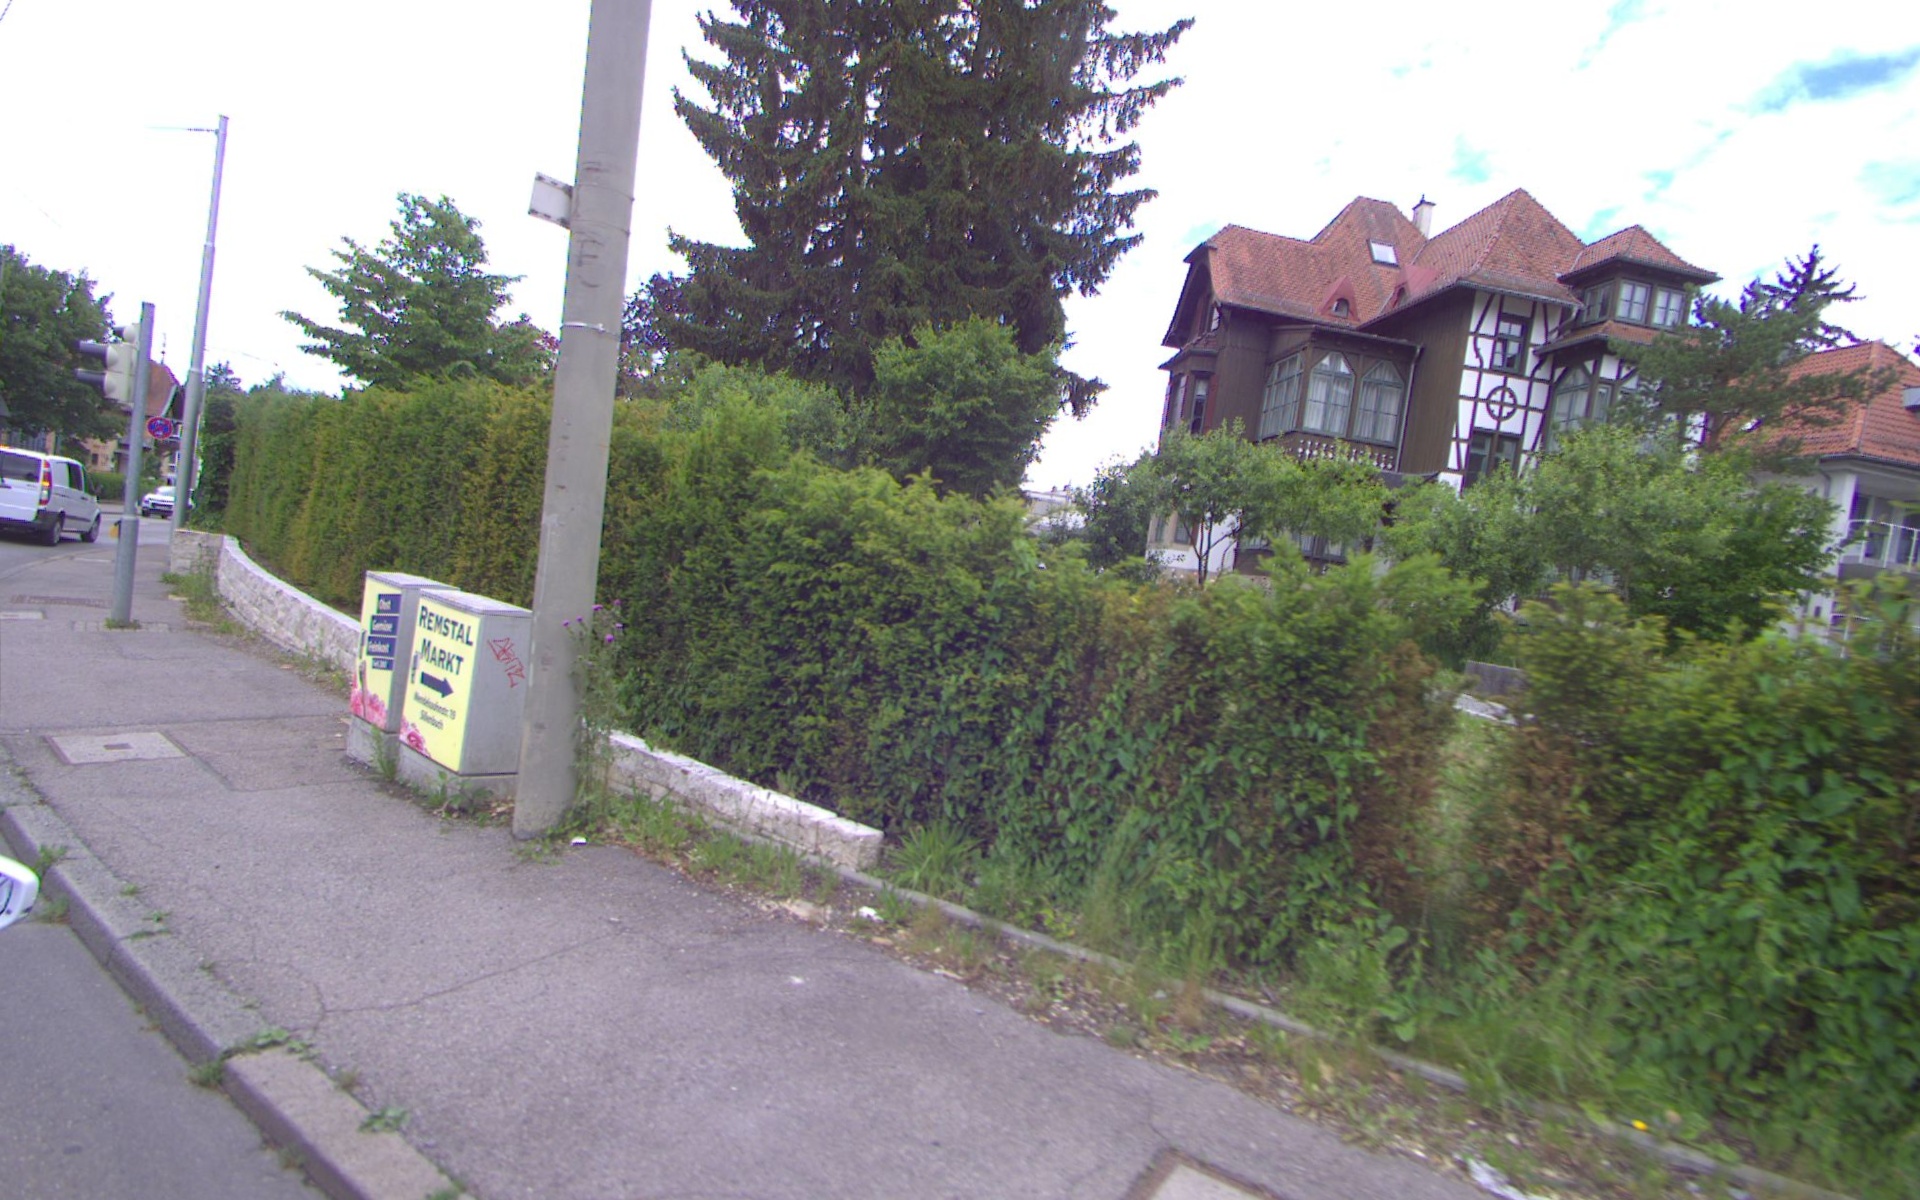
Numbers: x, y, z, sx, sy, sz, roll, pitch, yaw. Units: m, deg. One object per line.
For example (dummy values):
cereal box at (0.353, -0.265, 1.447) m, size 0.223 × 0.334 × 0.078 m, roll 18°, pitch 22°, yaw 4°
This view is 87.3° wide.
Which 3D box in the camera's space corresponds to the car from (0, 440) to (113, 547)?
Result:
car at (-20.269, -2.292, 21.770) m, size 1.942 × 1.978 × 4.193 m, roll 8°, pitch -1°, yaw -28°

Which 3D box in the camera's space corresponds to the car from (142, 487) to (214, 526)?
car at (-35.514, -4.211, 45.783) m, size 1.679 × 1.458 × 3.733 m, roll 5°, pitch 1°, yaw -25°
